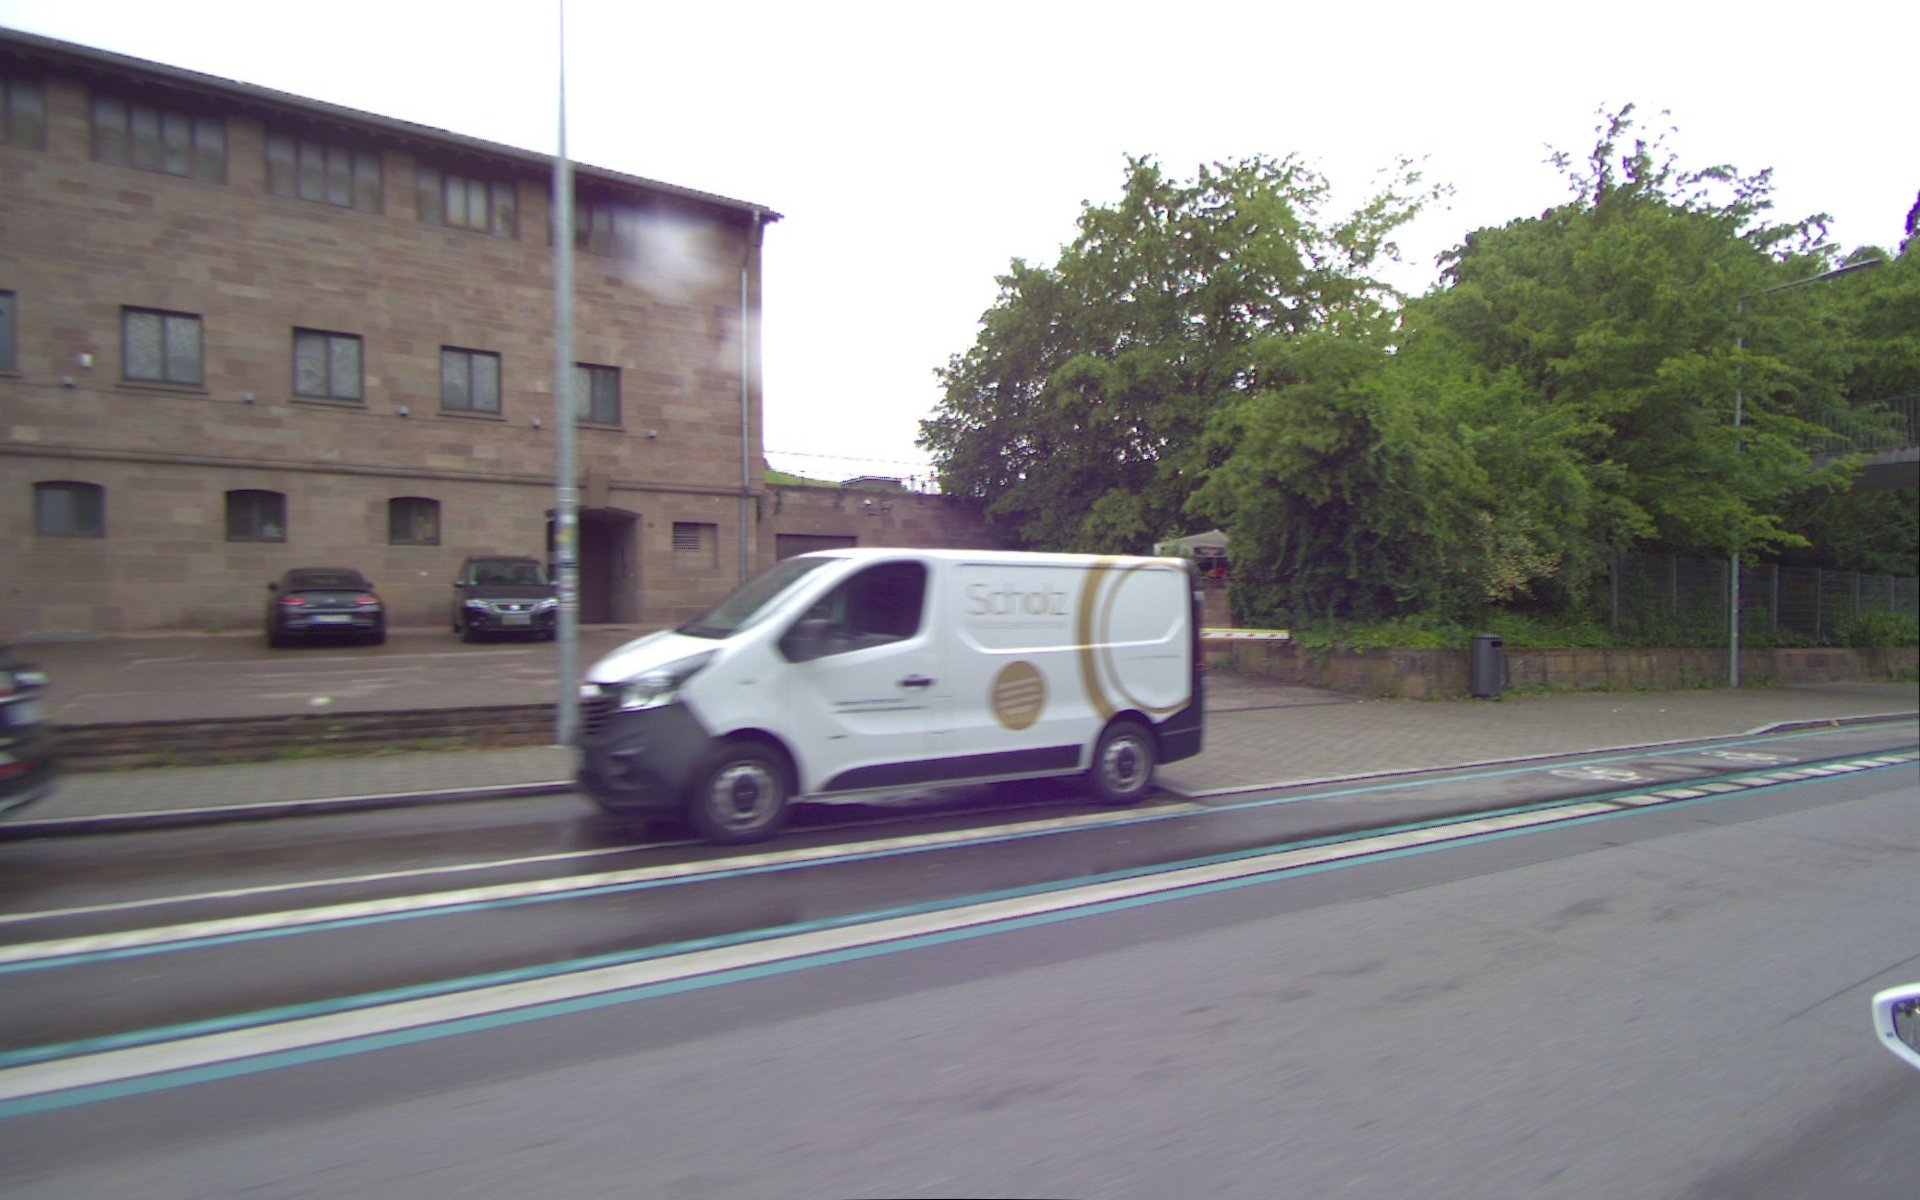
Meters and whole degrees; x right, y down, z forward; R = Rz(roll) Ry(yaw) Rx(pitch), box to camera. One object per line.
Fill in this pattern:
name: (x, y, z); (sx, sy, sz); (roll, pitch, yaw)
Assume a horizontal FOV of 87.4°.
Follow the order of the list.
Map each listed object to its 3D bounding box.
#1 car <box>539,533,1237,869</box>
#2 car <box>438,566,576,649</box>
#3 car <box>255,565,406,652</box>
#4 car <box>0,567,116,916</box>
car: (-0.441, 0.593, 7.907); (5.162, 1.940, 1.970); (0, 0, -29)
car: (-9.716, 0.065, 21.320); (2.165, 1.499, 4.746); (0, 2, -31)
car: (-12.260, 0.103, 19.558); (2.239, 1.451, 4.276); (1, 1, -34)
car: (-6.831, 0.661, 4.350); (4.610, 1.637, 1.814); (0, -1, -32)
